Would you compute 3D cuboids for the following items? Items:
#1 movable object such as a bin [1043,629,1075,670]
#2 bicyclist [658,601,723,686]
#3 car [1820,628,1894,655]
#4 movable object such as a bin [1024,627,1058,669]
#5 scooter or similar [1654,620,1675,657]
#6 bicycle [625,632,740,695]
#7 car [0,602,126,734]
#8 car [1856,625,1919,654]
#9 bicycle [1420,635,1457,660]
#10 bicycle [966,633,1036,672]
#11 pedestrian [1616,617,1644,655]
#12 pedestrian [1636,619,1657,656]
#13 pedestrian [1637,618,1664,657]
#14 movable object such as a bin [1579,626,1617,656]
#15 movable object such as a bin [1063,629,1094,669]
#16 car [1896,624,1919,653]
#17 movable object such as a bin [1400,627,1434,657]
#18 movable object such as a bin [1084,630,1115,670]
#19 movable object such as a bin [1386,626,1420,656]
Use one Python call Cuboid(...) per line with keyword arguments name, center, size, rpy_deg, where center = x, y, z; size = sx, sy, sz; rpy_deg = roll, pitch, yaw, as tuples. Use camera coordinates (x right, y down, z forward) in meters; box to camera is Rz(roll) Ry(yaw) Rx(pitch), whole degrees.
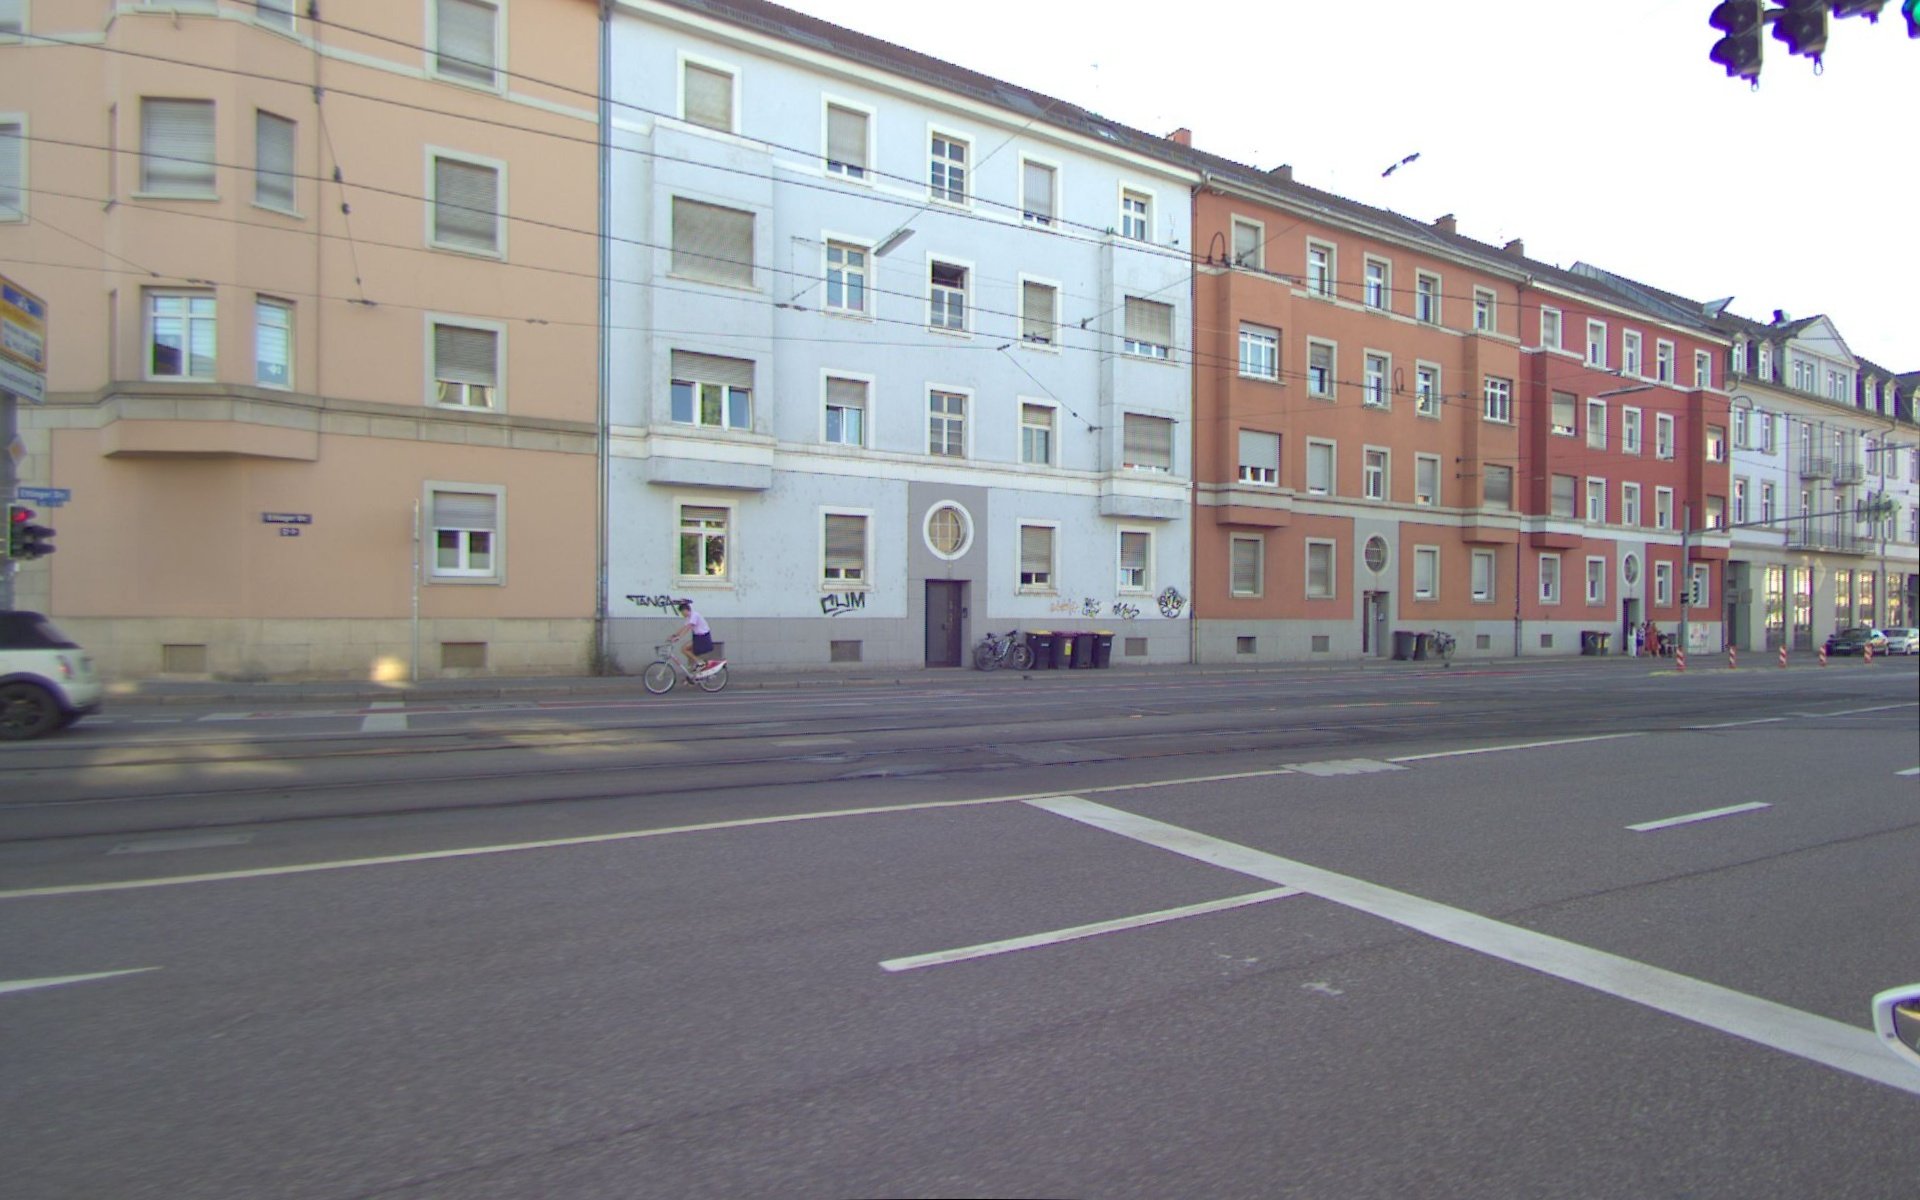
Cuboid(name="movable object such as a bin", center=(2.789, 1.390, 28.278), size=(0.576, 1.121, 0.699), rpy_deg=(1, 0, -30))
Cuboid(name="bicyclist", center=(-5.496, 0.873, 20.451), size=(1.113, 1.664, 0.743), rpy_deg=(1, -1, -31))
Cuboid(name="car", center=(45.252, 2.071, 50.643), size=(3.954, 1.249, 1.711), rpy_deg=(1, -1, -31))
Cuboid(name="movable object such as a bin", center=(2.254, 1.332, 27.939), size=(0.641, 1.121, 0.698), rpy_deg=(1, 0, -31))
Cuboid(name="scooter or similar", center=(31.343, 1.707, 44.704), size=(0.642, 1.655, 0.794), rpy_deg=(0, 0, 27))
Cuboid(name="bicycle", center=(-5.626, 1.260, 20.376), size=(2.127, 1.206, 0.743), rpy_deg=(1, -1, -31))
Cuboid(name="car", center=(-11.430, 0.713, 10.840), size=(3.495, 1.393, 1.717), rpy_deg=(1, -1, -32))
Cuboid(name="car", center=(49.857, 2.098, 53.770), size=(3.954, 1.471, 1.711), rpy_deg=(1, -1, -31))
Cuboid(name="bicycle", center=(17.933, 1.764, 37.630), size=(1.583, 0.902, 0.333), rpy_deg=(1, -1, -27))
Cuboid(name="bicycle", center=(1.119, 1.412, 27.244), size=(1.855, 0.993, 0.602), rpy_deg=(1, 0, -31))
Cuboid(name="pedestrian", center=(29.391, 1.562, 44.083), size=(0.643, 1.655, 0.793), rpy_deg=(1, 0, -12))
Cuboid(name="pedestrian", center=(30.719, 1.668, 44.951), size=(0.642, 1.655, 0.794), rpy_deg=(0, 0, 27))
Cuboid(name="pedestrian", center=(30.298, 1.641, 44.089), size=(0.815, 1.655, 0.795), rpy_deg=(0, 0, 22))
Cuboid(name="movable object such as a bin", center=(27.325, 1.748, 43.038), size=(1.216, 1.266, 0.868), rpy_deg=(1, -1, -24))
Cuboid(name="movable object such as a bin", center=(3.375, 1.389, 28.609), size=(0.576, 1.121, 0.698), rpy_deg=(1, 0, -31))
Cuboid(name="car", center=(54.141, 2.134, 56.137), size=(3.812, 1.572, 1.711), rpy_deg=(1, -1, -31))
Cuboid(name="movable object such as a bin", center=(16.549, 1.527, 36.383), size=(0.803, 1.054, 0.837), rpy_deg=(1, -1, -35))
Cuboid(name="movable object such as a bin", center=(4.014, 1.440, 28.982), size=(0.576, 1.121, 0.698), rpy_deg=(1, 0, -31))
Cuboid(name="movable object such as a bin", center=(15.836, 1.454, 35.929), size=(0.803, 1.054, 0.837), rpy_deg=(1, -1, -35))
